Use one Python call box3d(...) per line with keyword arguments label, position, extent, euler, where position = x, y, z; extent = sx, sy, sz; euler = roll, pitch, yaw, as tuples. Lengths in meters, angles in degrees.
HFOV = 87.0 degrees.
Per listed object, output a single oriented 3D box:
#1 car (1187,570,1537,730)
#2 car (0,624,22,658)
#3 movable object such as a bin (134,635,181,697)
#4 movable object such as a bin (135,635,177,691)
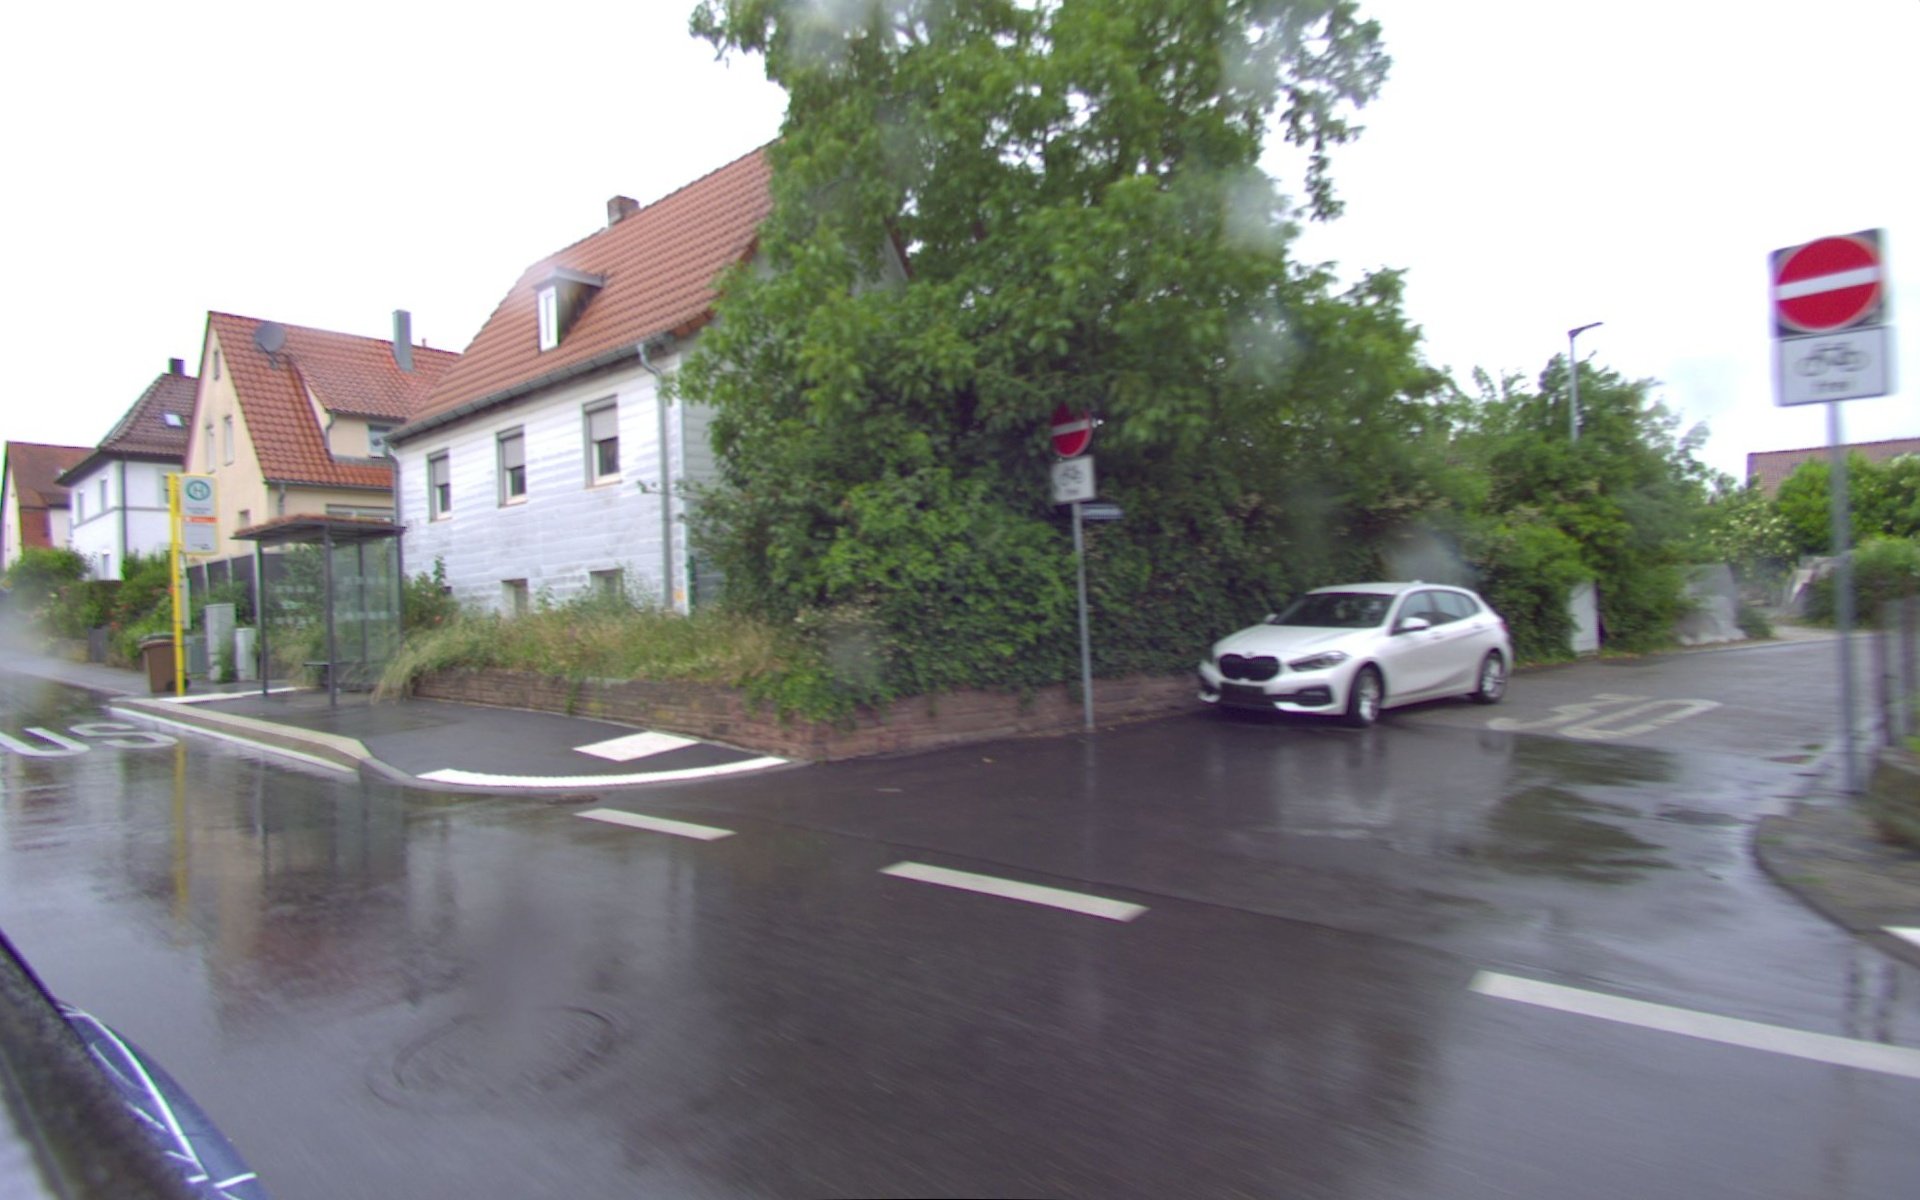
box3d(label="car", position=(4.647, 0.449, 11.457), extent=(4.172, 1.429, 1.721), euler=(-3, 0, -37))
box3d(label="car", position=(-61.305, 2.287, 62.831), extent=(1.870, 1.989, 3.952), euler=(-2, -13, 37))
box3d(label="movable object such as a bin", position=(-15.031, 1.221, 18.960), extent=(0.527, 1.090, 0.547), euler=(-2, 3, 42))
box3d(label="movable object such as a bin", position=(-14.677, 1.149, 18.472), extent=(0.454, 0.946, 0.463), euler=(-4, 1, 42))
